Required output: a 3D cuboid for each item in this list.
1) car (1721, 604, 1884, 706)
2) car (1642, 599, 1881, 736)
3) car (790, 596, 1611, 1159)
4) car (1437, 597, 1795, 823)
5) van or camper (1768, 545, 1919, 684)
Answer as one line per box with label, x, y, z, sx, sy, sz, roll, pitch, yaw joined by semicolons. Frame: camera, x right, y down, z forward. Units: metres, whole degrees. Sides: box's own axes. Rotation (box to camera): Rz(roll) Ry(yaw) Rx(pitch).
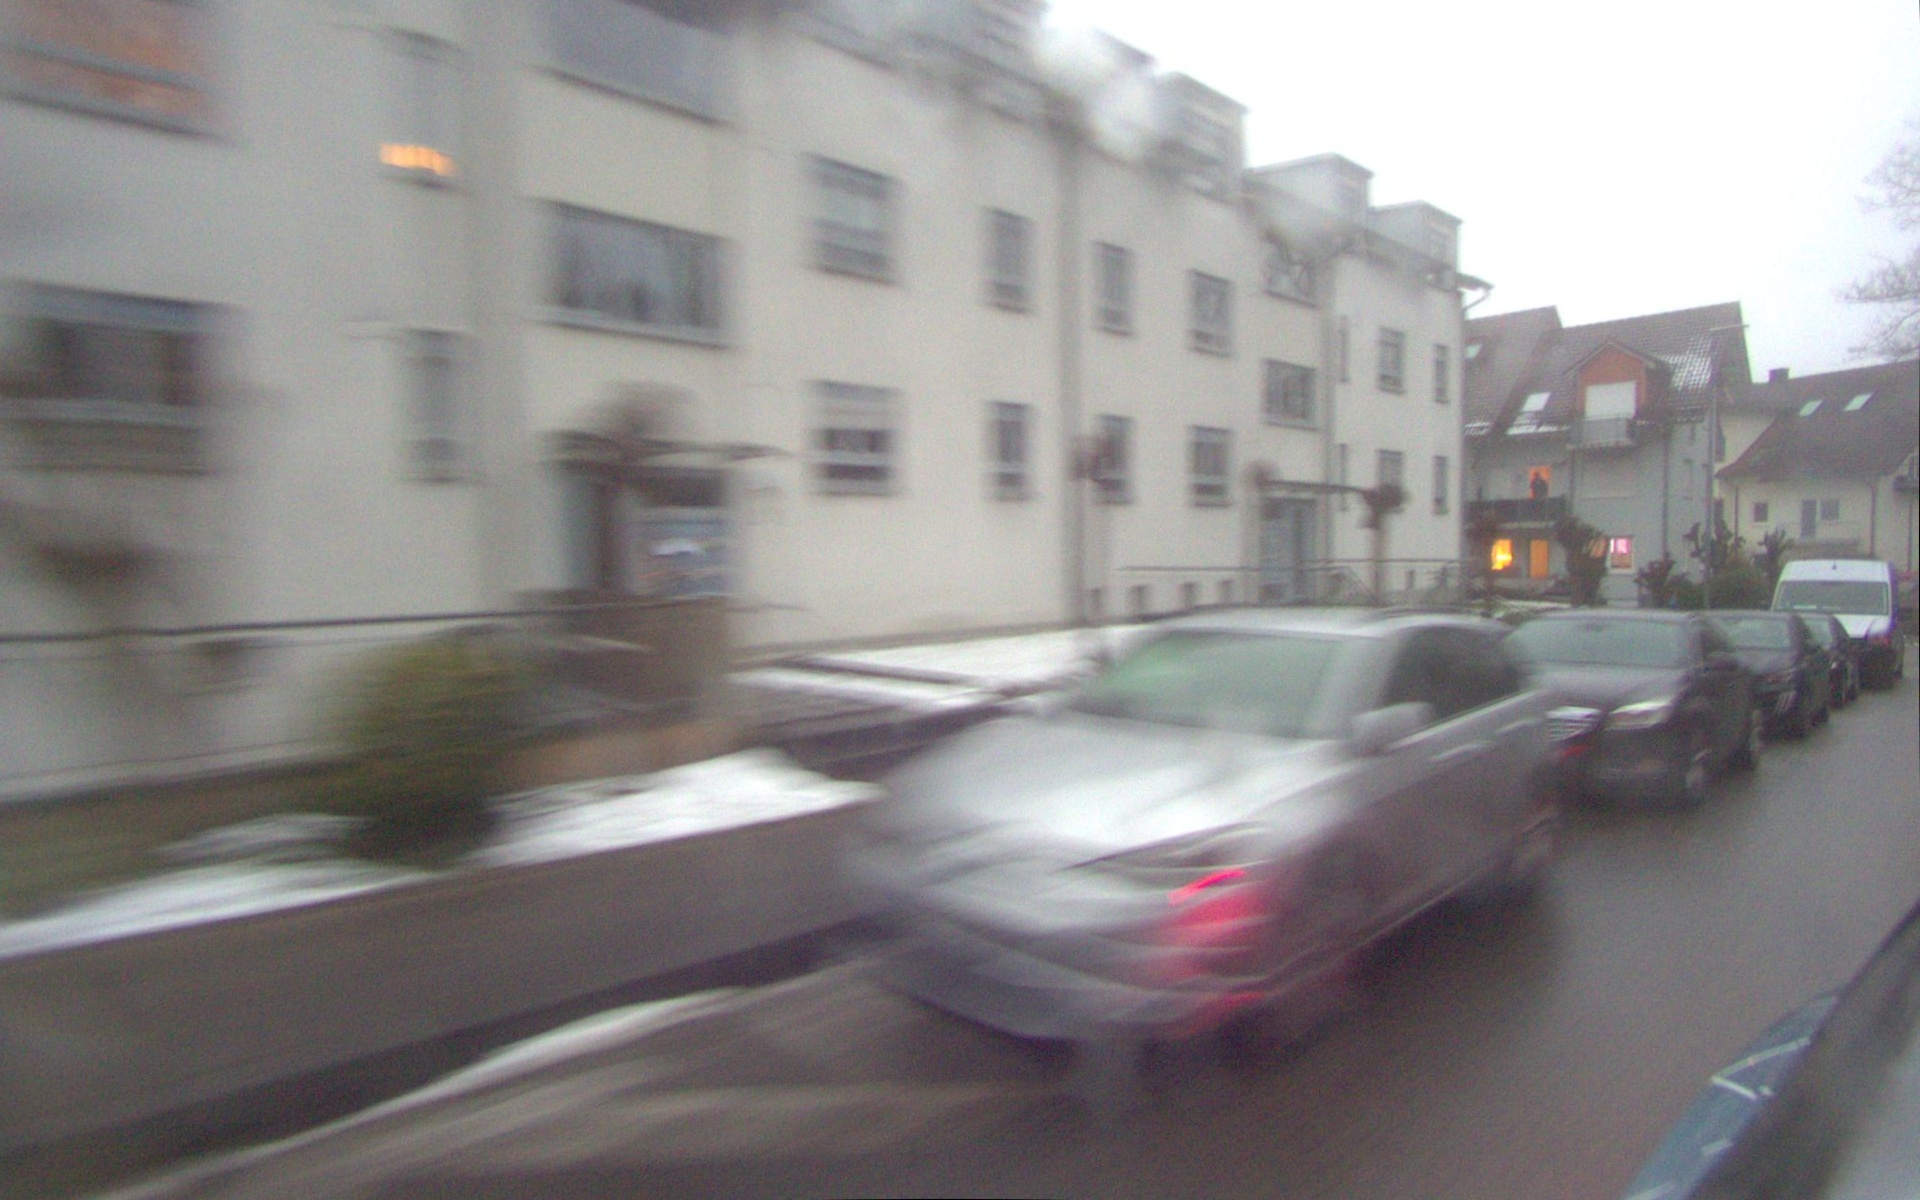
car;14.089;0.811;16.844;4.055;1.407;1.657;0;2;-44
car;10.413;0.726;13.023;4.454;1.407;1.658;0;2;-42
car;1.509;0.723;4.811;4.384;1.447;1.739;0;0;-44
car;5.855;0.716;8.769;4.489;1.447;1.656;0;0;-44
van or camper;18.998;0.231;21.572;2.015;2.539;6.683;2;1;45
